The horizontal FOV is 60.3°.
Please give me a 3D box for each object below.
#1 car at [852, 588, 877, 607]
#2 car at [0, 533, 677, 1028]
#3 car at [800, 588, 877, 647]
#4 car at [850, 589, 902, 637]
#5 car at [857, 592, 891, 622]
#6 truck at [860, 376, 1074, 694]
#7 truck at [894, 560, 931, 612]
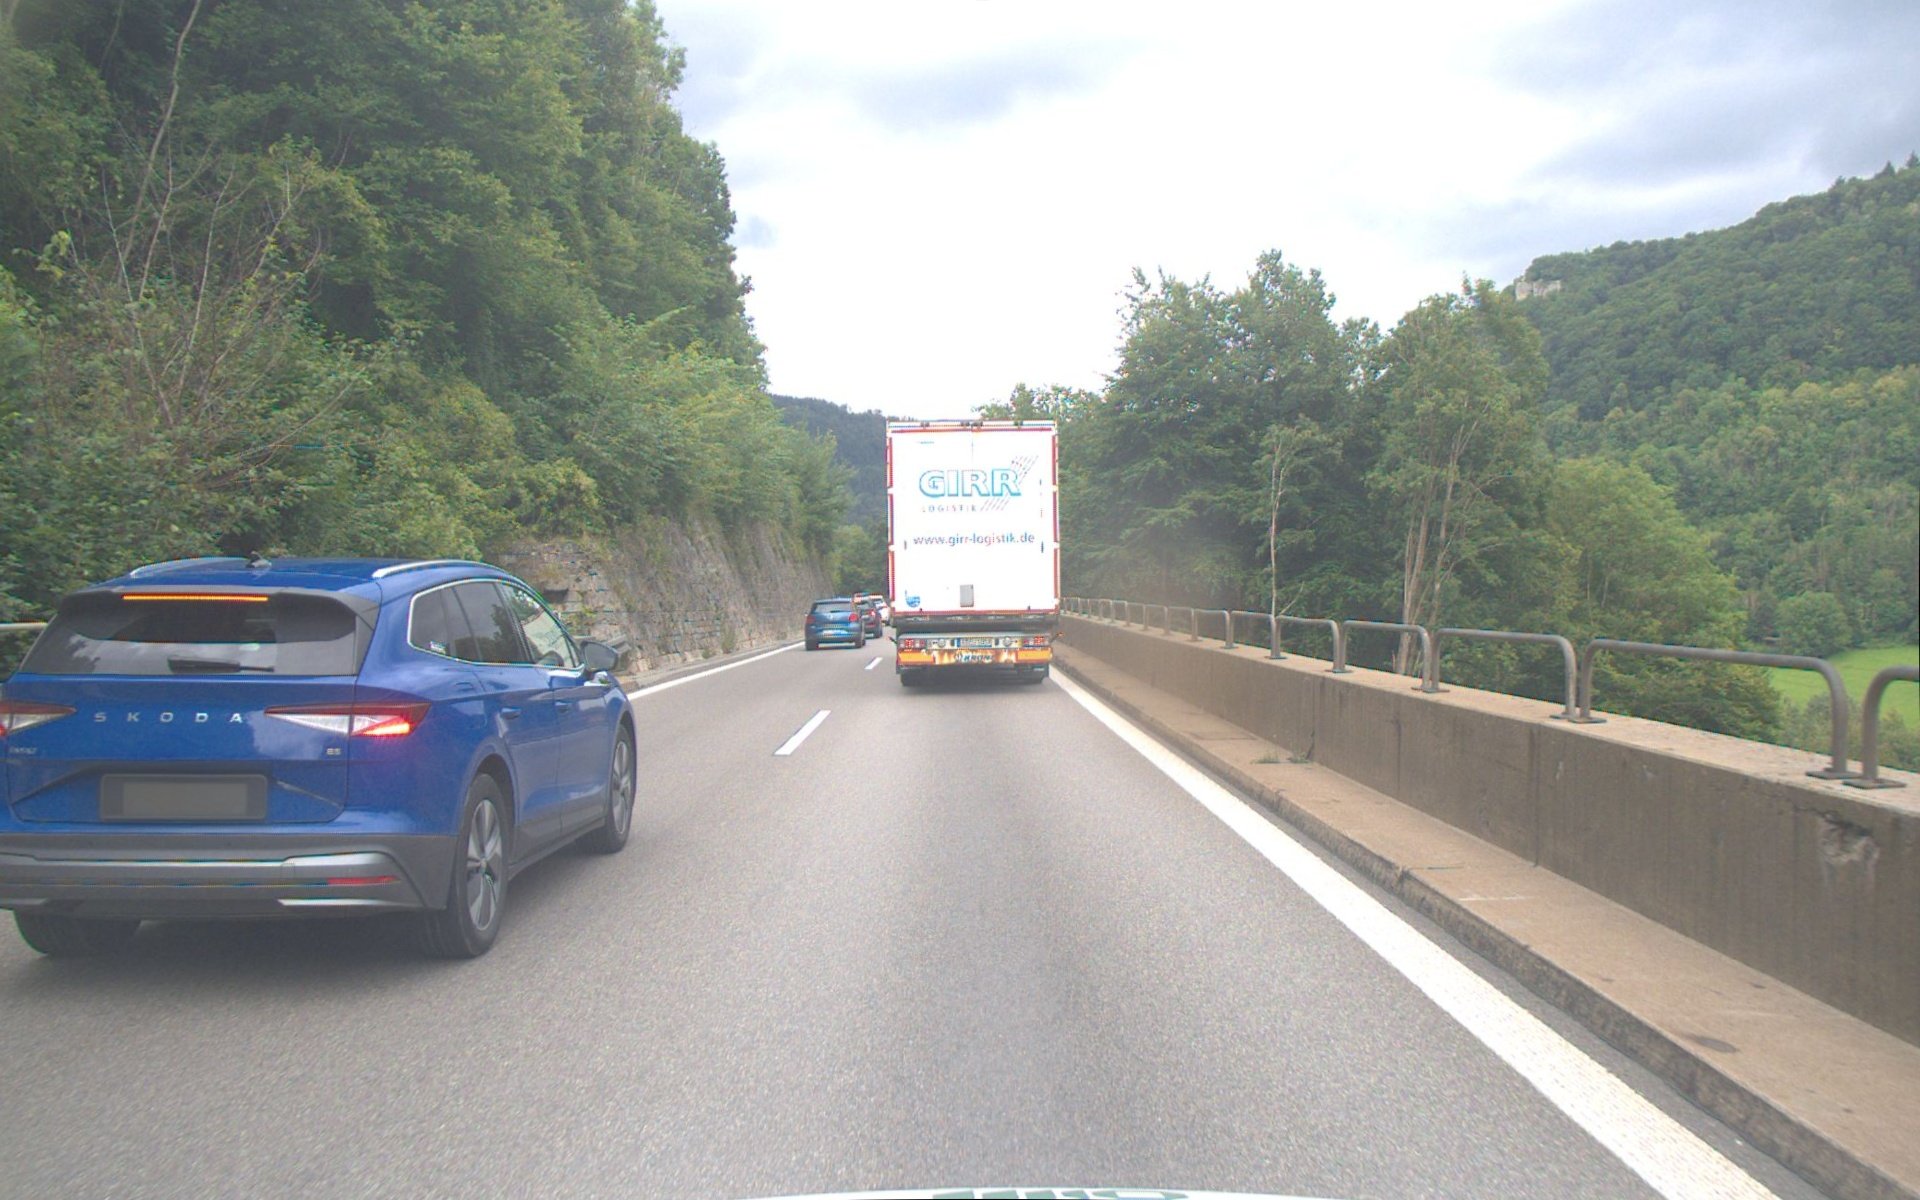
[{"bbox_3d":[-8.549,-0.206,147.785,1.713,1.614,3.991,2,-1,-10],"label":"car"},{"bbox_3d":[-2.813,0.604,8.111,1.953,1.660,5.008,-1,0,0],"label":"car"},{"bbox_3d":[-3.536,0.521,48.678,1.953,1.624,4.353,1,-1,-1],"label":"car"},{"bbox_3d":[-2.998,0.462,59.659,1.710,1.614,3.998,2,-1,-2],"label":"car"},{"bbox_3d":[-4.478,0.377,86.504,1.710,1.512,3.998,1,0,-2],"label":"car"},{"bbox_3d":[0.035,-0.991,31.441,3.021,4.542,15.153,-1,0,-1],"label":"truck"},{"bbox_3d":[-3.857,-1.079,132.282,2.582,3.925,12.351,1,0,-3],"label":"truck"}]
